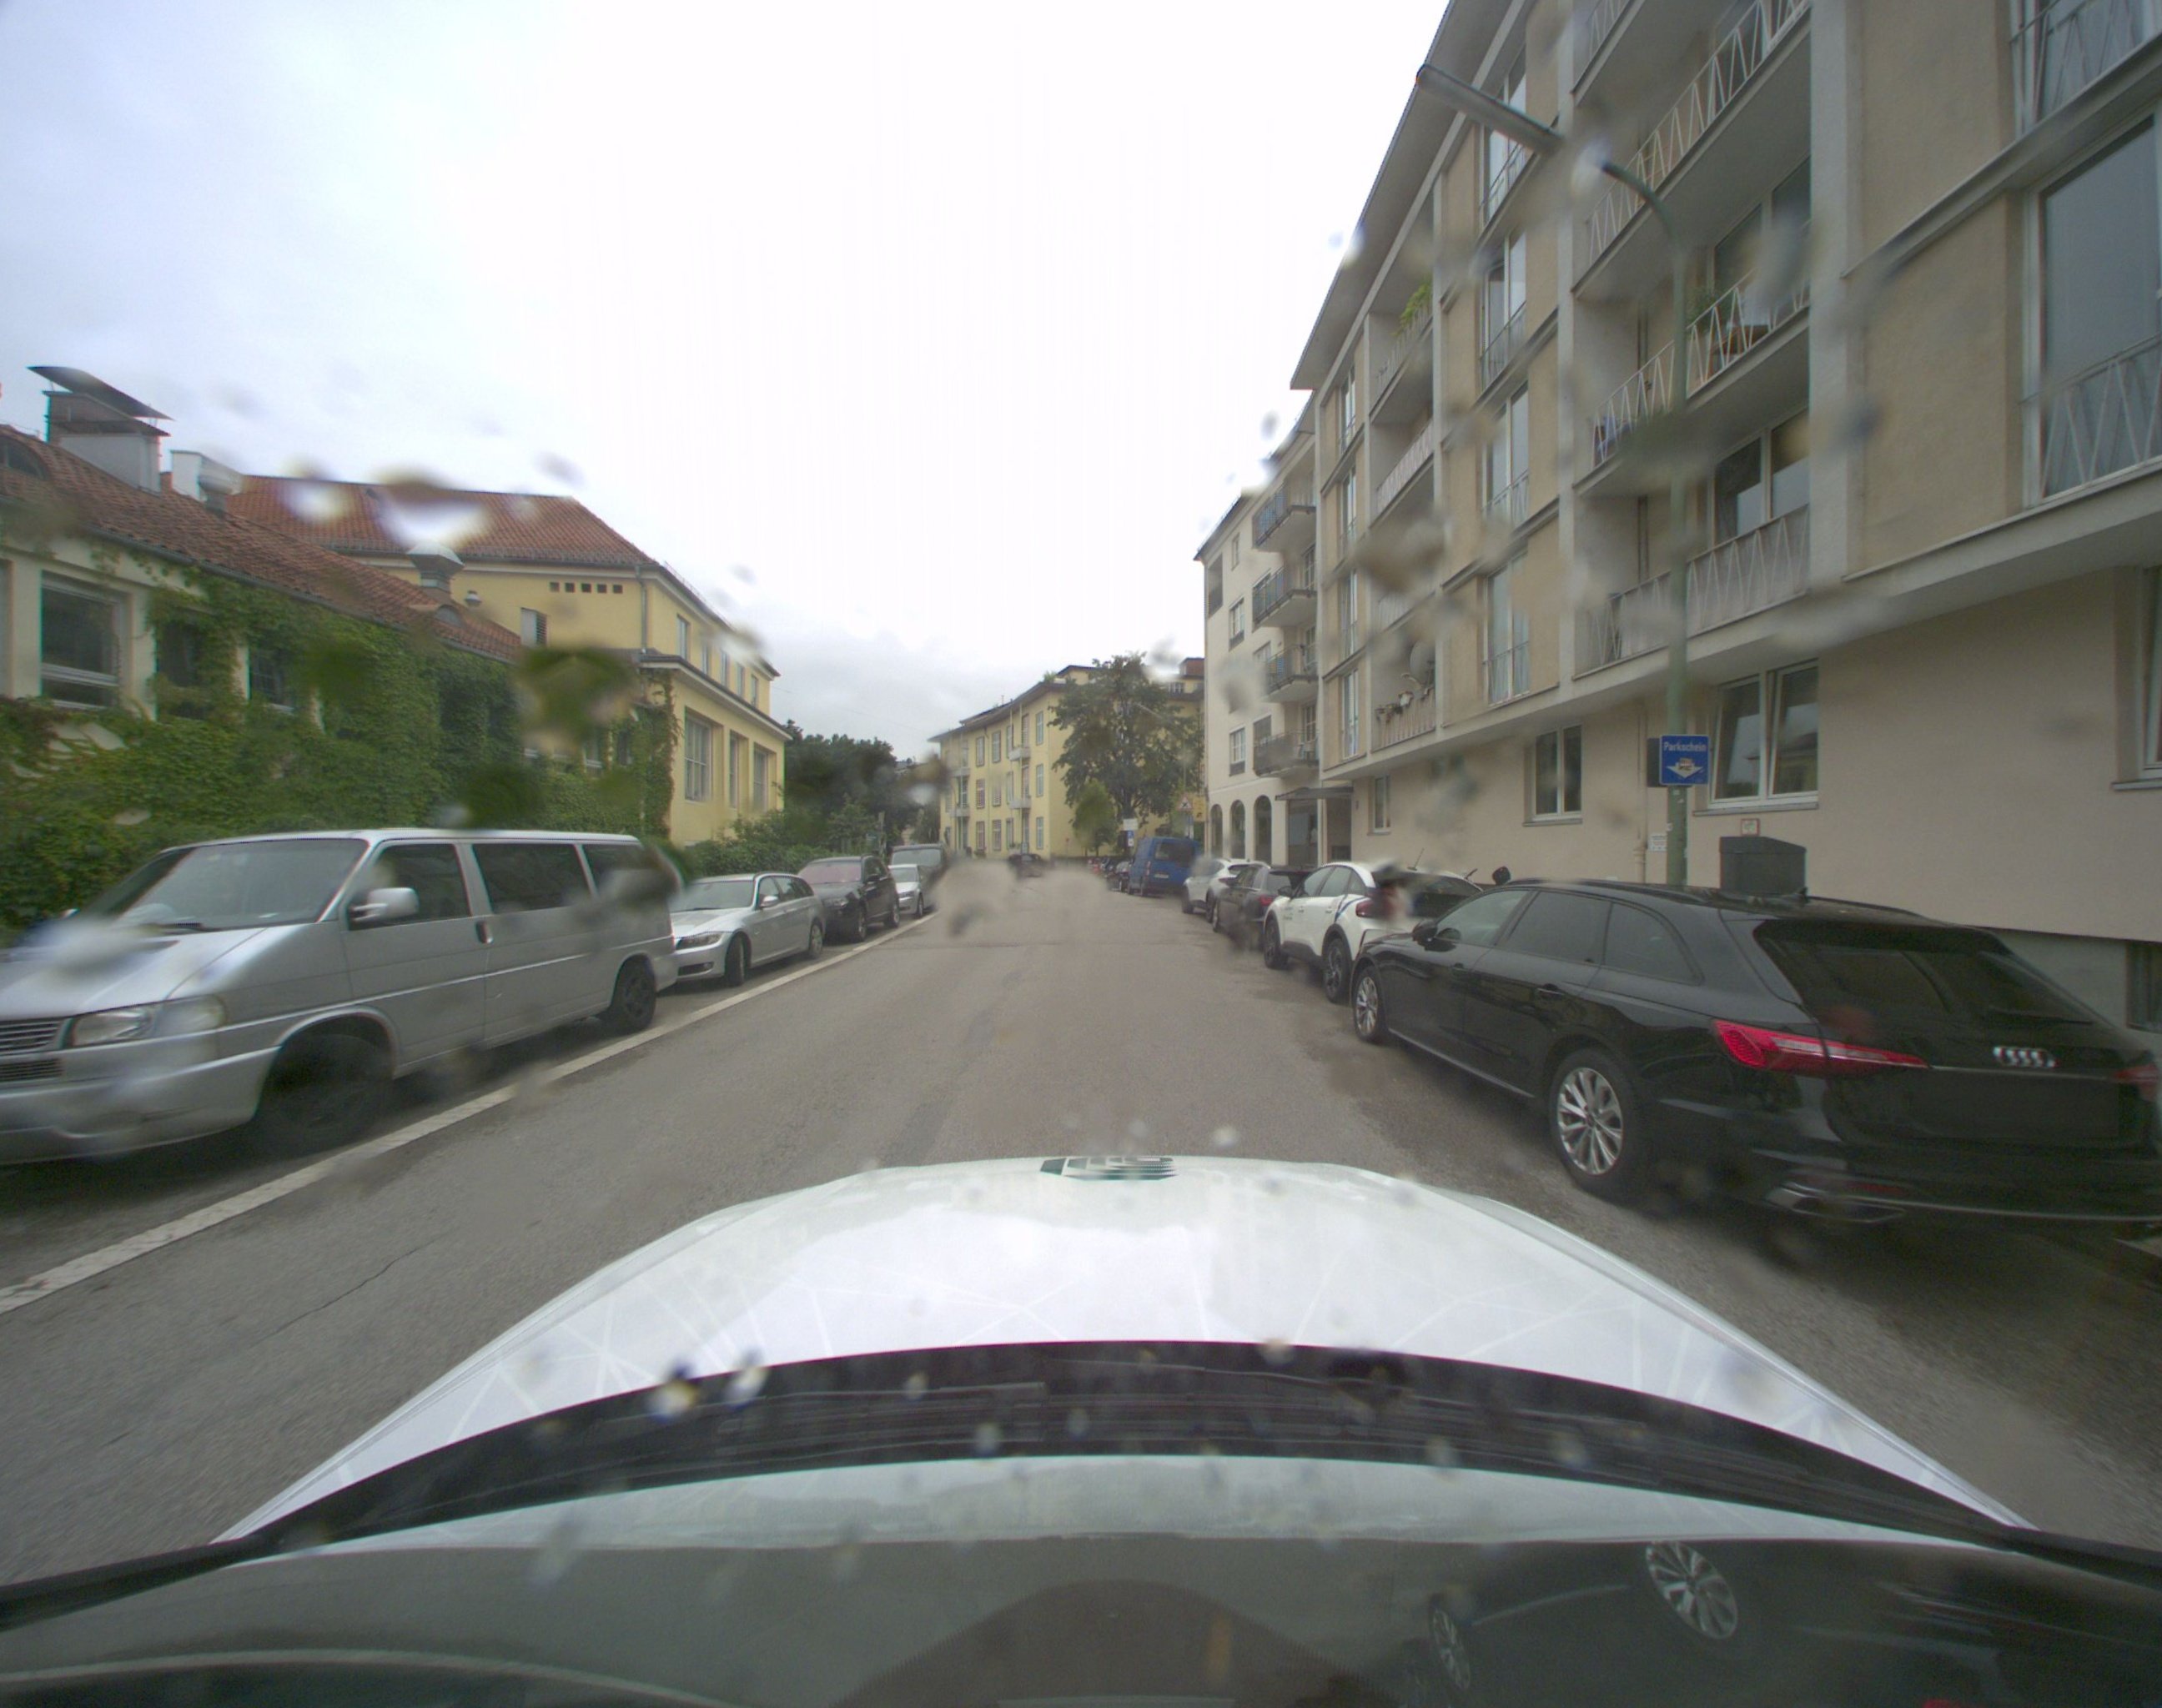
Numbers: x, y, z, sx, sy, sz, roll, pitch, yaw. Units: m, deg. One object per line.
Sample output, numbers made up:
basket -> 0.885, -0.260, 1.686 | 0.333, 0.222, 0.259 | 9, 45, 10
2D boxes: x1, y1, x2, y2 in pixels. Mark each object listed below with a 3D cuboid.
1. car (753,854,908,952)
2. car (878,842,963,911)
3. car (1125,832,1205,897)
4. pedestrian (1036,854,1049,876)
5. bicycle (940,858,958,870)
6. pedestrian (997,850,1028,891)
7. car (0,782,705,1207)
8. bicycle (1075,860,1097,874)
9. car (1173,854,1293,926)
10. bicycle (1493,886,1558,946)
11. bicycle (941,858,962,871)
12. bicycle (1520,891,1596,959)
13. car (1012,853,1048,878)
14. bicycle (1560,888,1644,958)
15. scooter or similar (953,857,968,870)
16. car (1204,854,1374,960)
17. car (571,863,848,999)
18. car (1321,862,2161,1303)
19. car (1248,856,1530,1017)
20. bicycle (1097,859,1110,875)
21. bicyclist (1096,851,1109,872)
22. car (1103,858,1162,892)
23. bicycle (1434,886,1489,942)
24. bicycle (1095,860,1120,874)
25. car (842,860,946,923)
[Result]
car -> -4.891, 0.863, 16.594 | 1.692, 1.643, 4.489 | -3, 0, 0
car -> -5.200, 0.687, 27.151 | 2.069, 1.964, 5.341 | -2, 0, -4
car -> 3.212, 0.451, 32.214 | 2.076, 2.234, 5.234 | 4, -2, -5
pedestrian -> -3.285, 0.900, 69.009 | 0.877, 1.823, 0.793 | 0, 0, -20
bicycle -> -14.285, 1.047, 88.236 | 0.725, 1.305, 2.169 | 0, 0, 27
pedestrian -> -3.056, 0.744, 36.382 | 0.923, 1.801, 0.962 | -4, -2, 43
car -> -4.990, 0.667, 6.104 | 1.880, 1.889, 4.776 | -3, 0, 2
bicycle -> 0.384, 1.120, 69.735 | 1.903, 1.201, 0.599 | 0, 0, 37
car -> 3.673, 0.814, 20.517 | 1.782, 1.533, 4.641 | 2, 0, -5
bicycle -> 7.471, 1.019, 13.749 | 0.376, 0.905, 1.392 | 0, 0, 2
bicycle -> -13.685, 1.111, 86.198 | 0.725, 1.305, 2.169 | 0, 0, 44
bicycle -> 7.202, 1.045, 12.349 | 0.376, 0.905, 1.392 | 0, 0, 2
car -> -4.356, 0.930, 68.805 | 1.769, 1.874, 4.348 | 4, -1, -21
bicycle -> 7.624, 0.983, 11.975 | 0.376, 0.905, 1.392 | 0, 0, 2
scooter or similar -> -12.618, 0.992, 85.436 | 0.726, 1.305, 2.165 | 0, 0, 16
car -> 3.607, 0.822, 15.194 | 1.873, 1.522, 5.164 | 3, 0, 1
car -> -4.998, 0.922, 11.834 | 1.647, 1.414, 4.772 | -4, 0, 1
car -> 3.181, 0.804, 5.220 | 1.740, 1.388, 4.951 | 2, 0, -1
car -> 3.451, 0.802, 10.161 | 1.689, 1.489, 4.578 | 2, 0, -1
bicycle -> 1.688, 0.979, 61.843 | 0.670, 1.159, 1.997 | 0, -1, -9
bicyclist -> 1.660, 0.568, 62.033 | 0.863, 1.607, 0.944 | 0, -1, -9
car -> 2.355, 0.962, 38.367 | 1.677, 1.389, 4.289 | 4, -1, -11
bicycle -> 6.920, 1.065, 14.847 | 0.376, 0.905, 1.392 | -1, 0, 2
bicycle -> 2.250, 1.073, 68.541 | 2.052, 1.201, 0.597 | 0, 0, 14
car -> -4.890, 0.928, 21.901 | 1.689, 1.393, 4.500 | -3, 0, 0
